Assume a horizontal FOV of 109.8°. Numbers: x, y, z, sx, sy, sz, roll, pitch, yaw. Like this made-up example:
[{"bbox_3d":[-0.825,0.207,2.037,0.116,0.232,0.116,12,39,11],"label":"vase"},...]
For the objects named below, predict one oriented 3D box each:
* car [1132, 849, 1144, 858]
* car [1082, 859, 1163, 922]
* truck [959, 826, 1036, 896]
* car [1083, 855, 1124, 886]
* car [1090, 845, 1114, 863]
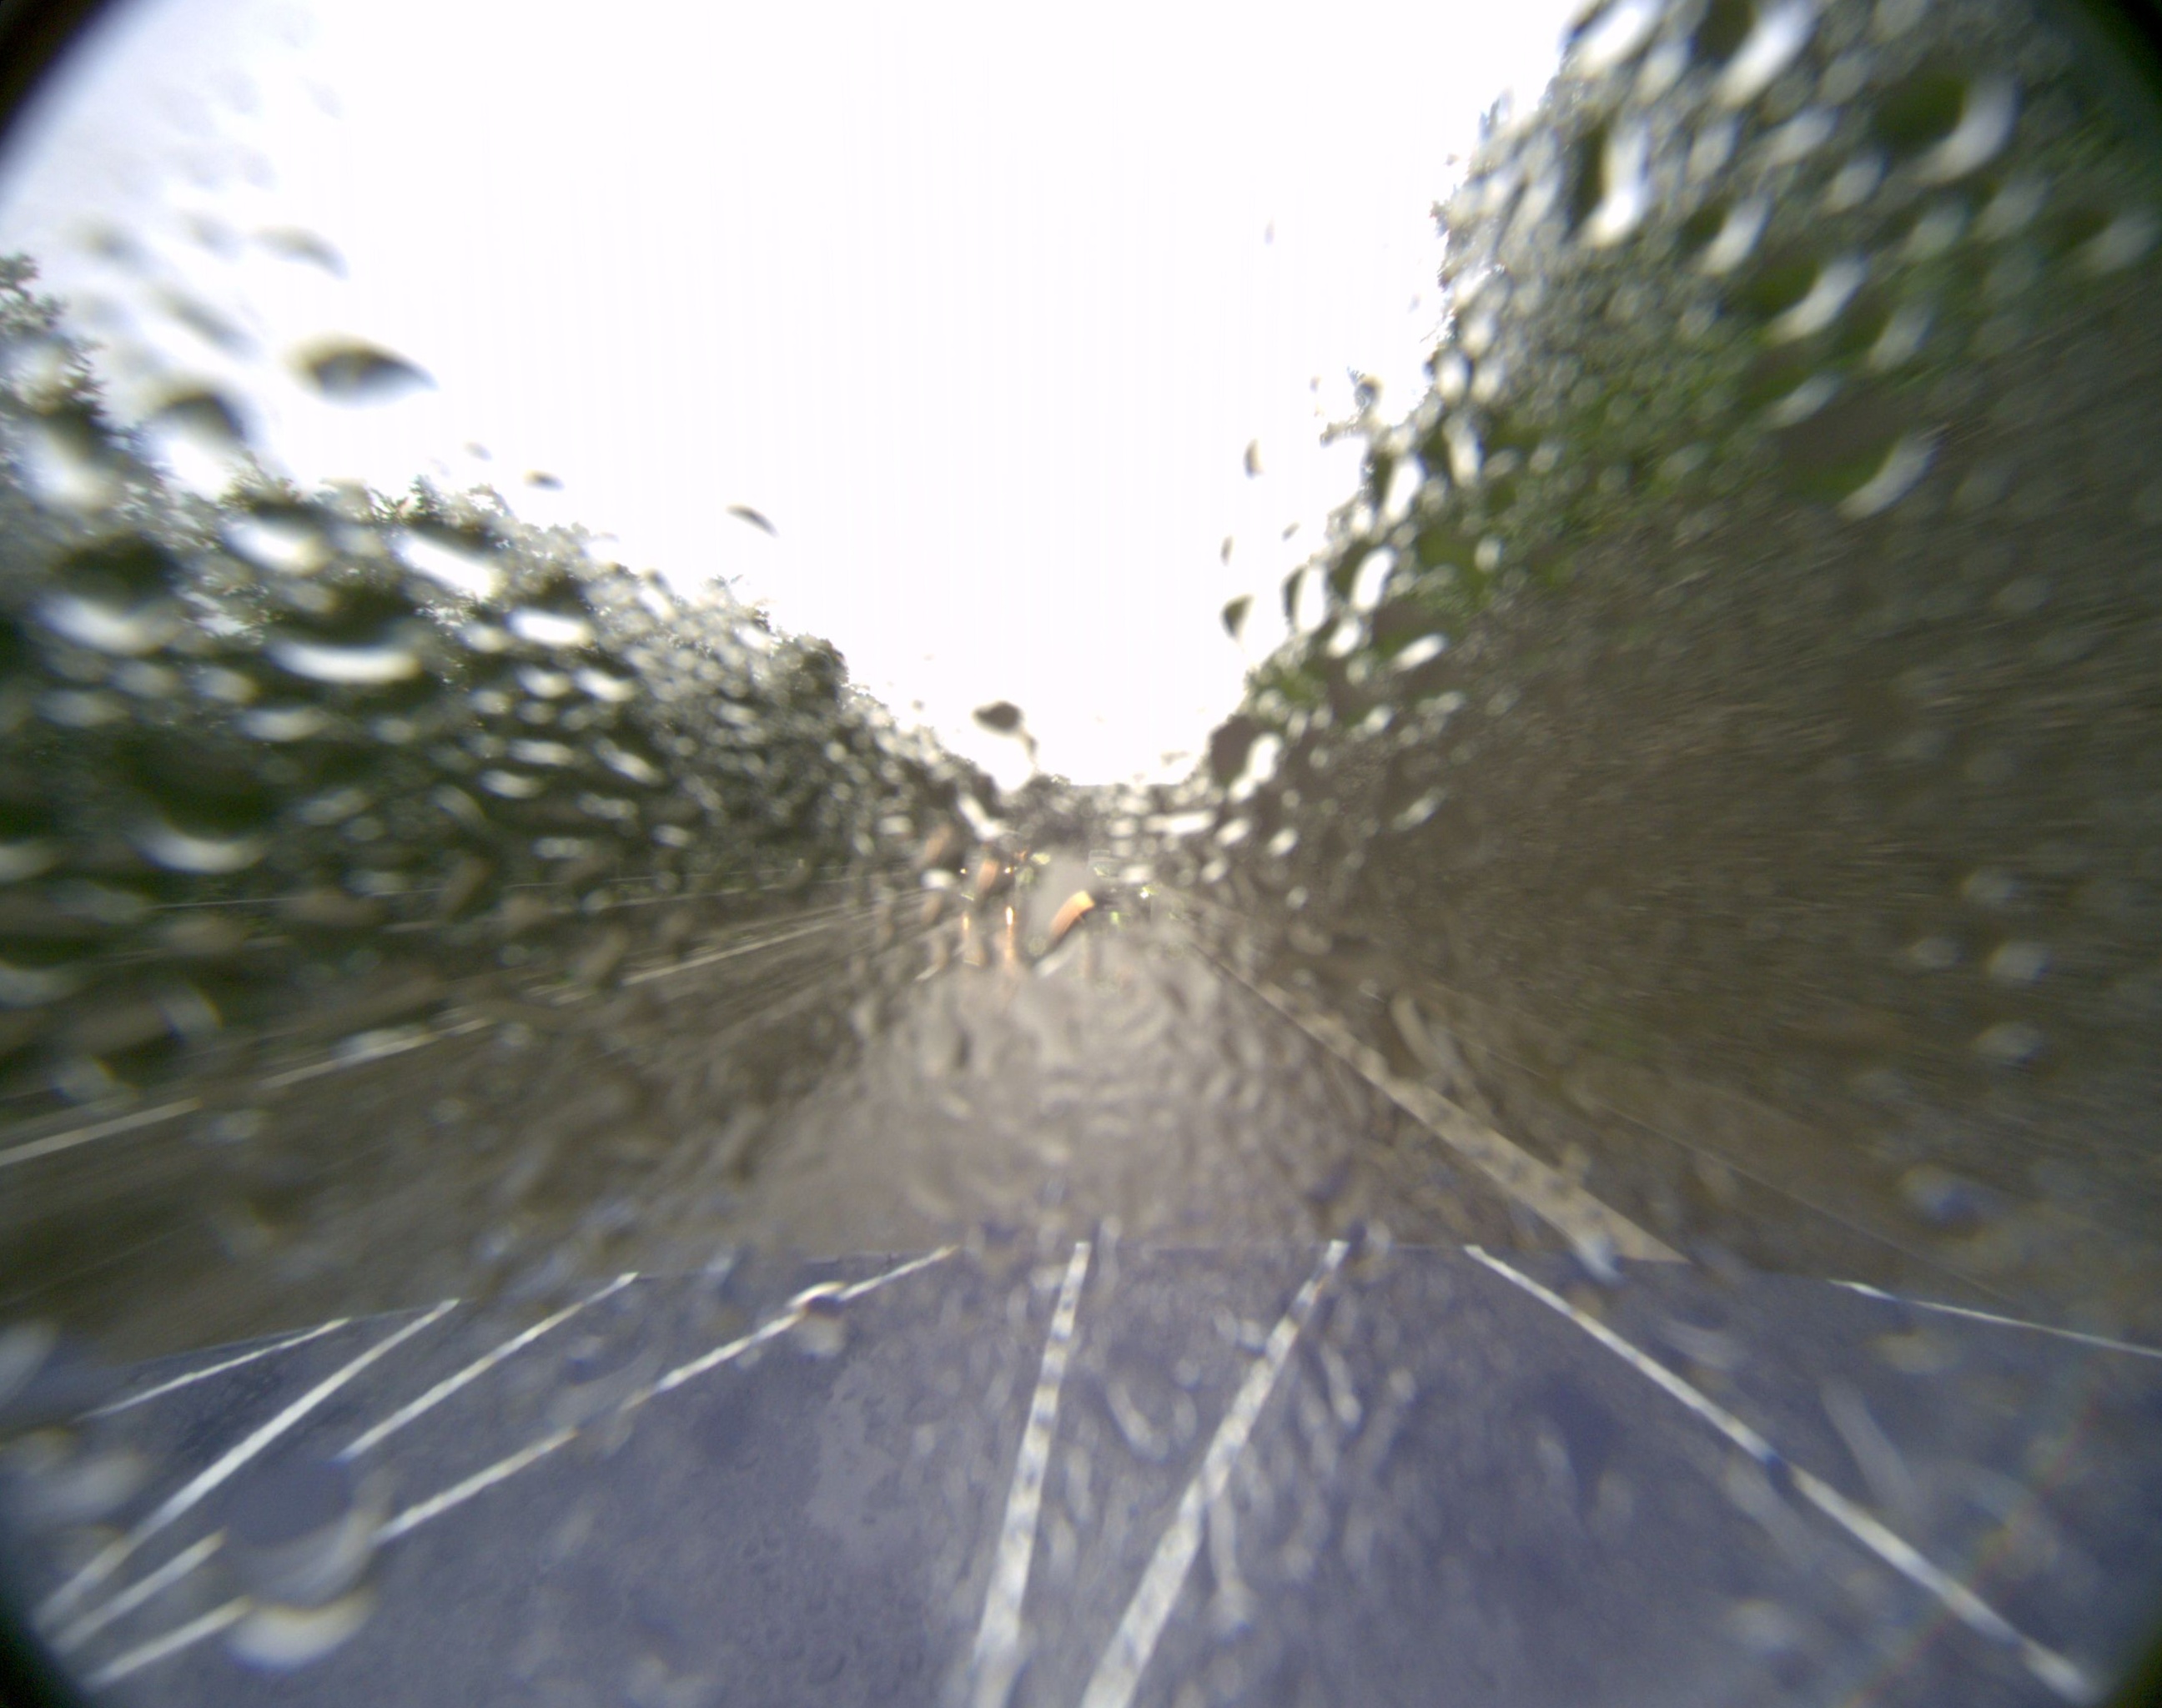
[{"bbox_3d":[9.606,-0.052,127.123,1.826,1.375,4.001,-1,0,6],"label":"car"},{"bbox_3d":[1.038,0.851,19.444,1.827,1.375,4.000,-1,0,3],"label":"car"},{"bbox_3d":[-3.266,0.225,31.599,2.108,2.481,8.002,-2,0,1],"label":"truck"},{"bbox_3d":[1.103,0.761,36.572,1.827,1.375,4.000,-1,0,2],"label":"car"},{"bbox_3d":[1.674,0.013,60.722,1.827,1.375,4.000,-1,0,3],"label":"car"}]
